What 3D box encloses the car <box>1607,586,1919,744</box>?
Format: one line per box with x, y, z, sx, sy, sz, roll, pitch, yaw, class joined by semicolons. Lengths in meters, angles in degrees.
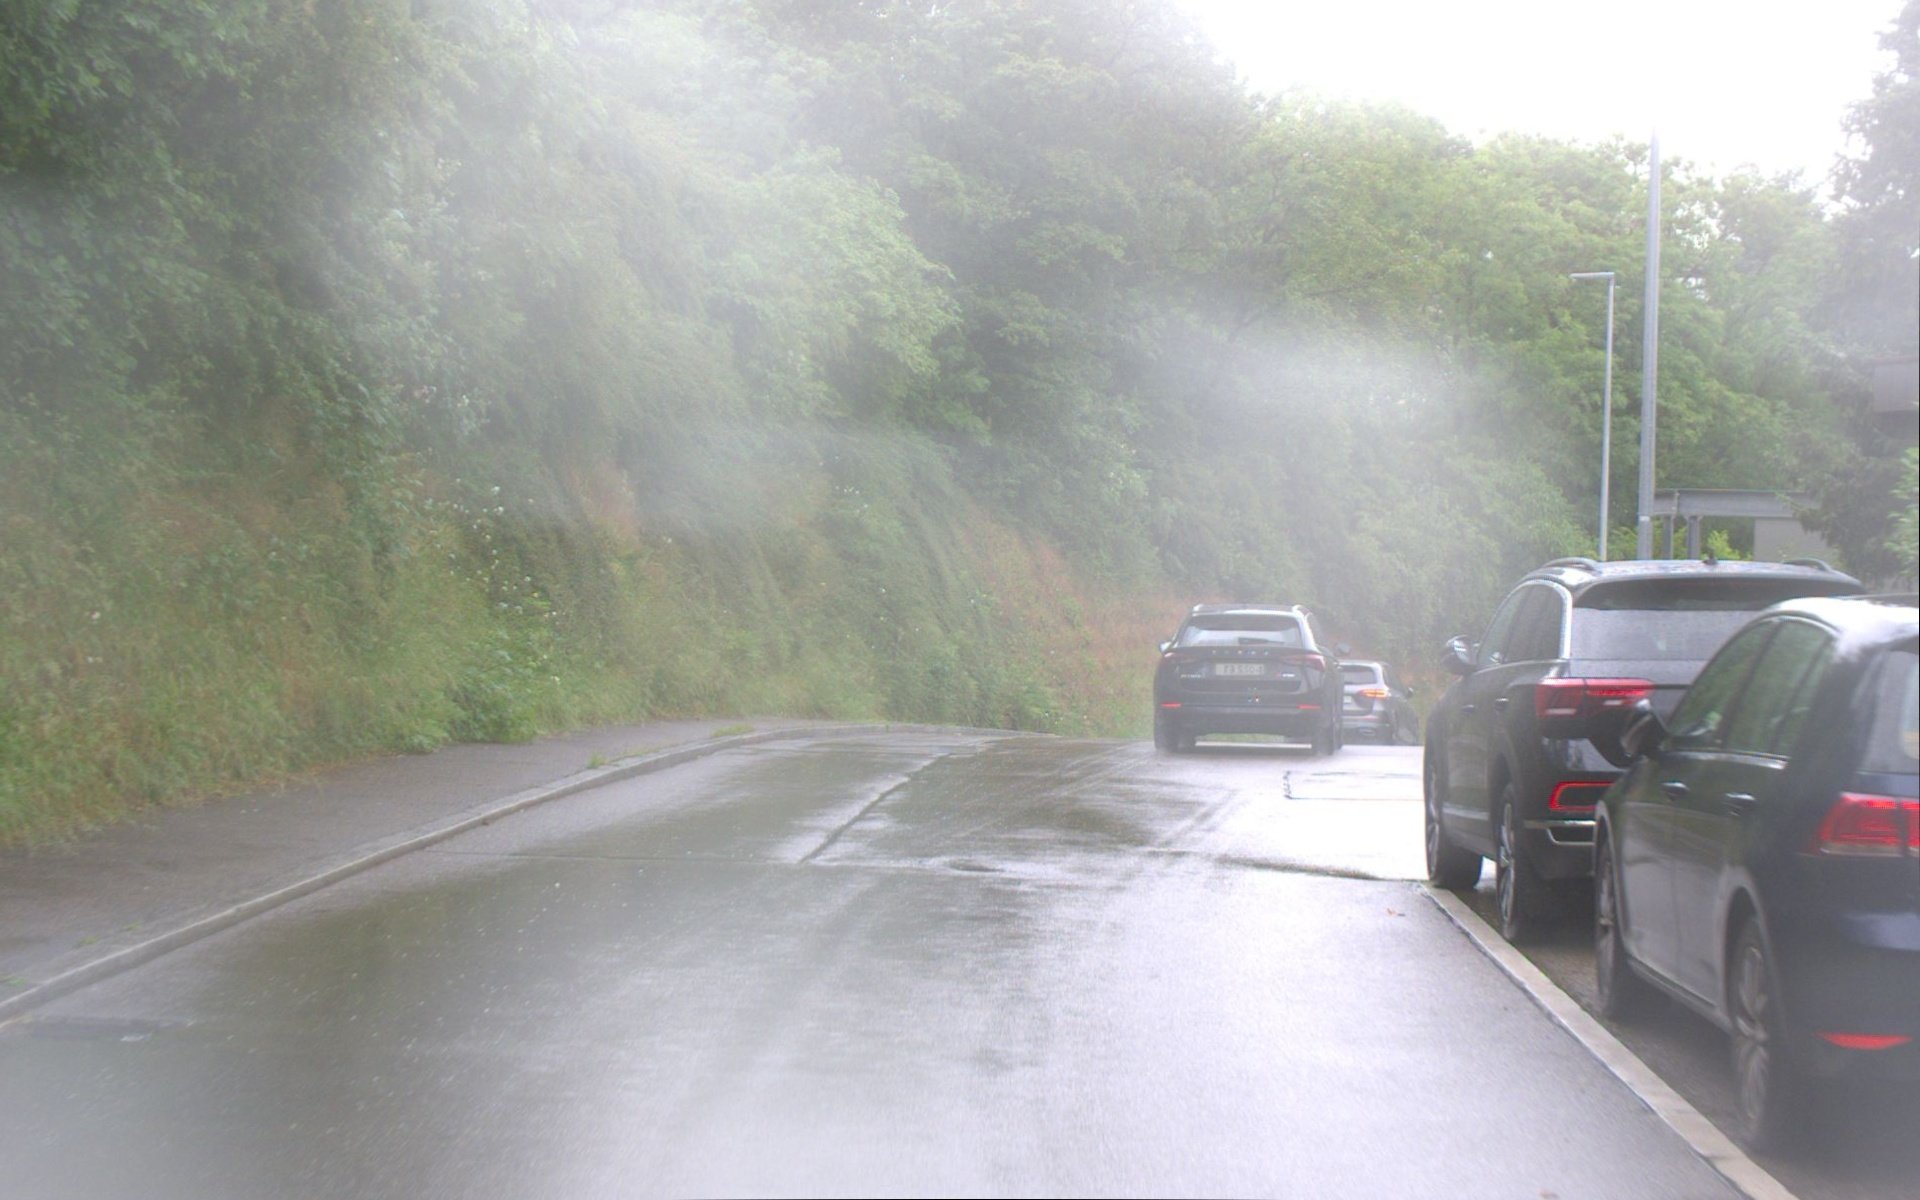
8.686;0.676;34.227;4.219;1.410;1.939;2;-1;16;car

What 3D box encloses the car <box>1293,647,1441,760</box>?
6.760;1.670;56.687;1.994;1.600;4.407;2;1;12;car

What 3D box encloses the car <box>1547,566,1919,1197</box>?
2.946;0.669;10.294;1.756;1.457;4.301;2;1;2;car

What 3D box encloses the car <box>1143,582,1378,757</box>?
3.066;0.742;34.354;1.869;1.507;4.090;3;-3;11;car

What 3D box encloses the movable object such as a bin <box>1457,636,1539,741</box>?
5.798;0.955;37.077;0.789;1.092;0.675;-3;-2;6;movable object such as a bin

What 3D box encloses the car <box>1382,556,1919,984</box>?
3.035;0.621;15.349;1.875;1.586;4.479;1;1;2;car
